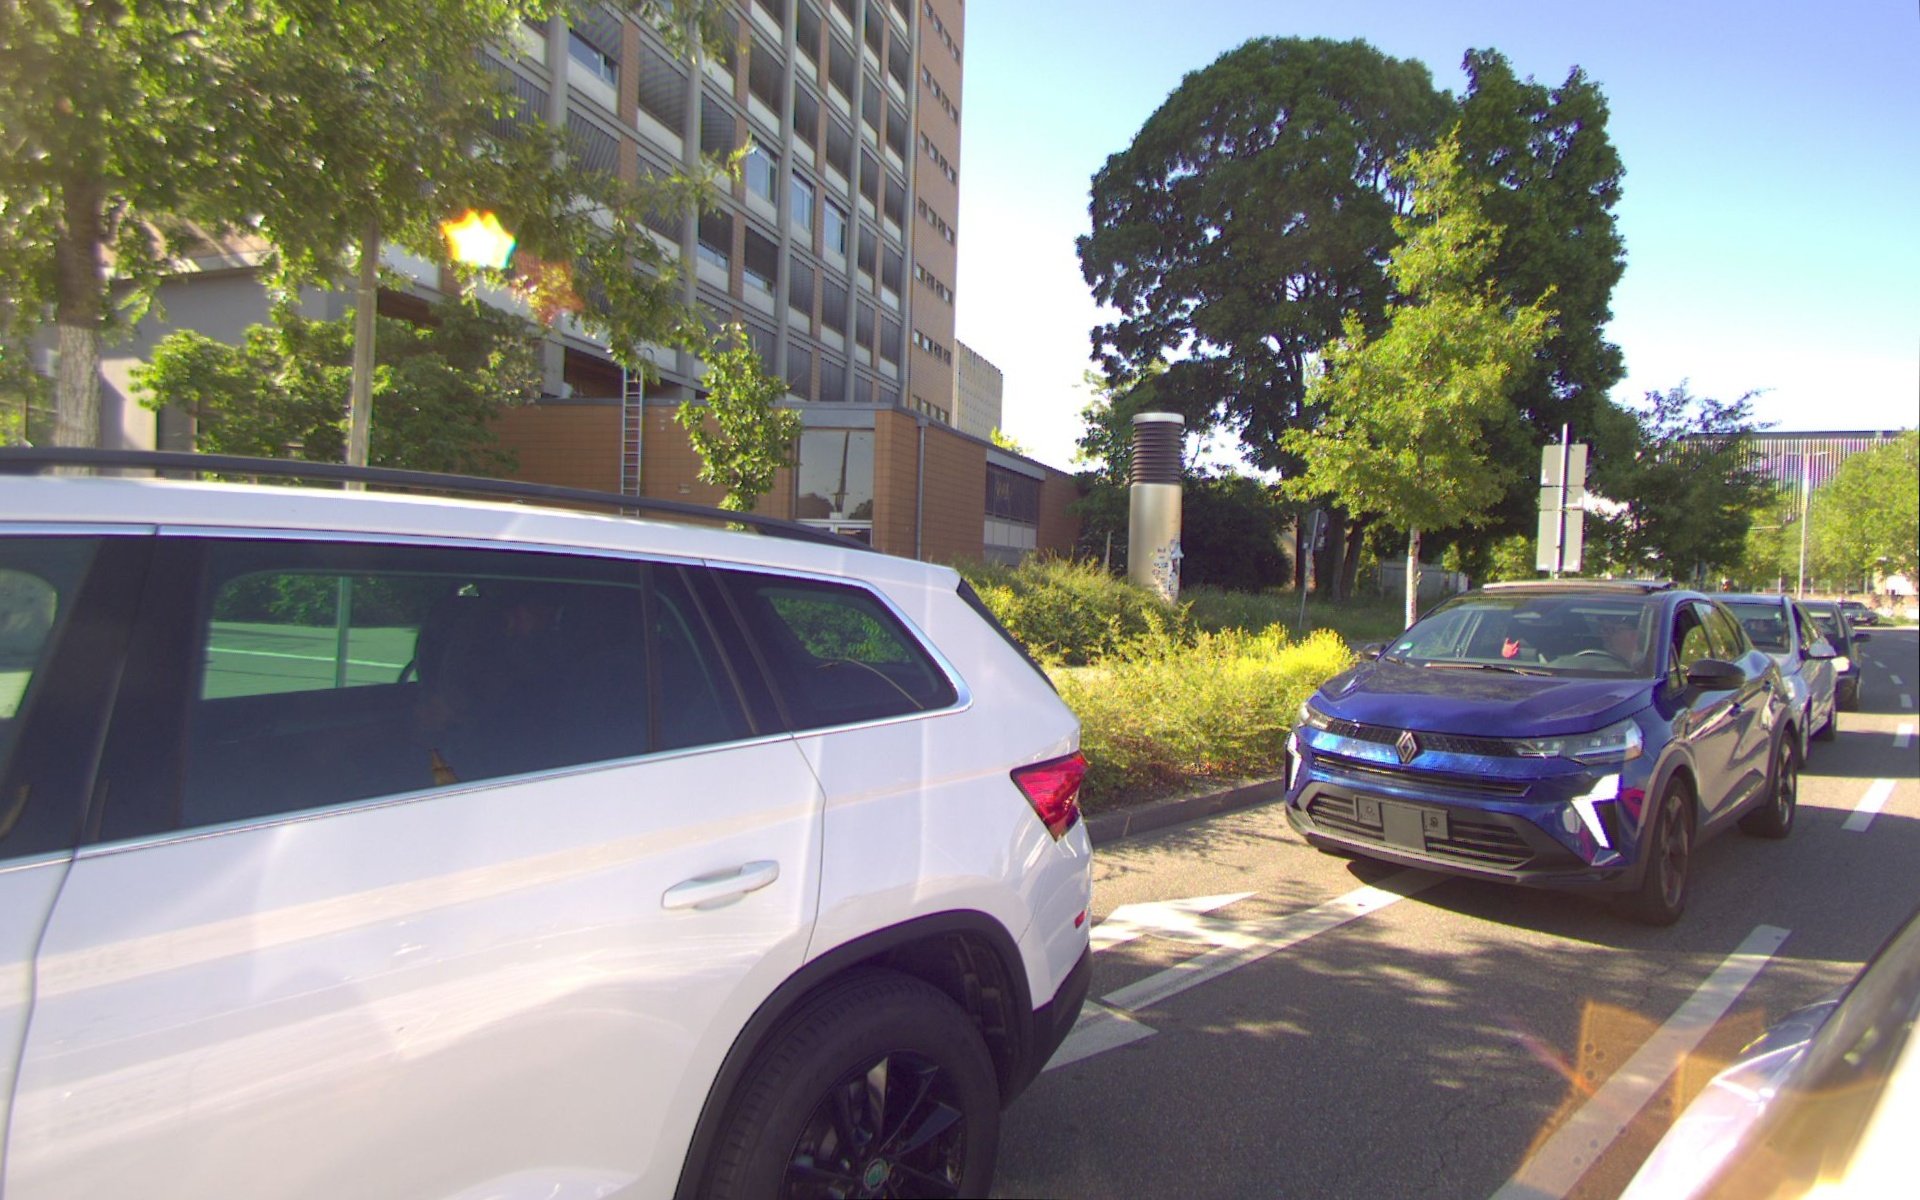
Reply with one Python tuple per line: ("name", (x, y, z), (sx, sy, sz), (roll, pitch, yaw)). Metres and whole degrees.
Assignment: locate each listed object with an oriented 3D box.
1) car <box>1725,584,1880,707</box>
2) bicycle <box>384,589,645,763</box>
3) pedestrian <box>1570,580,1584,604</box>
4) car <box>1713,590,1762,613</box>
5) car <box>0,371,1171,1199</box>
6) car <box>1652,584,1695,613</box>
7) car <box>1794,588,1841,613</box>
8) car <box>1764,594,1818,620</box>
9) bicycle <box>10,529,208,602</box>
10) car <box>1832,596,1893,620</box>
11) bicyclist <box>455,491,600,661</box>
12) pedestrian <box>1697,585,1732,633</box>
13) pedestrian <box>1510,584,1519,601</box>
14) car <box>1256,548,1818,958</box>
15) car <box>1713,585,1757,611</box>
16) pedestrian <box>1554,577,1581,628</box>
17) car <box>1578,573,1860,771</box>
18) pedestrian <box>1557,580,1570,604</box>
("car", (13.103, 0.612, 15.678), (1.646, 1.631, 3.435), (3, 2, 43))
("bicycle", (-3.596, 0.561, 8.256), (1.802, 1.232, 0.691), (0, 3, -41))
("pedestrian", (49.996, -0.632, 82.022), (0.812, 1.941, 0.766), (0, 0, 22))
("car", (54.580, 0.087, 71.086), (1.862, 1.500, 3.967), (1, 1, 24))
("car", (-1.633, 0.563, 1.656), (4.223, 1.662, 1.697), (0, 2, -42))
("car", (49.728, -0.124, 70.570), (1.811, 1.876, 3.718), (2, 1, 27))
("car", (59.001, 0.016, 69.709), (1.578, 1.625, 3.048), (2, 1, 23))
("car", (46.741, 0.361, 56.984), (1.738, 1.396, 3.537), (1, 1, 29))
("bicycle", (-17.550, -0.694, 21.015), (0.790, 1.394, 3.111), (2, 1, 26))
("car", (52.685, 0.444, 59.151), (1.569, 1.219, 3.966), (2, 1, 25))
("bicyclist", (-3.543, -0.207, 8.285), (0.891, 1.294, 0.722), (1, 3, -41))
("pedestrian", (26.171, 0.303, 35.100), (0.678, 1.624, 0.663), (1, 1, -21))
("pedestrian", (63.271, -0.860, 115.421), (0.812, 1.941, 0.766), (0, 0, 23))
("car", (3.613, 0.592, 5.995), (4.013, 1.626, 1.703), (0, 1, -42))
("car", (63.080, -0.205, 82.448), (1.767, 2.039, 4.201), (1, 1, 22))
("pedestrian", (19.820, 0.083, 33.008), (0.688, 1.624, 0.653), (2, 1, 35))
("car", (8.057, 0.592, 10.607), (3.977, 1.645, 1.782), (0, 2, -45))
("pedestrian", (49.302, -0.637, 82.650), (0.812, 1.941, 0.766), (0, 0, 22))
